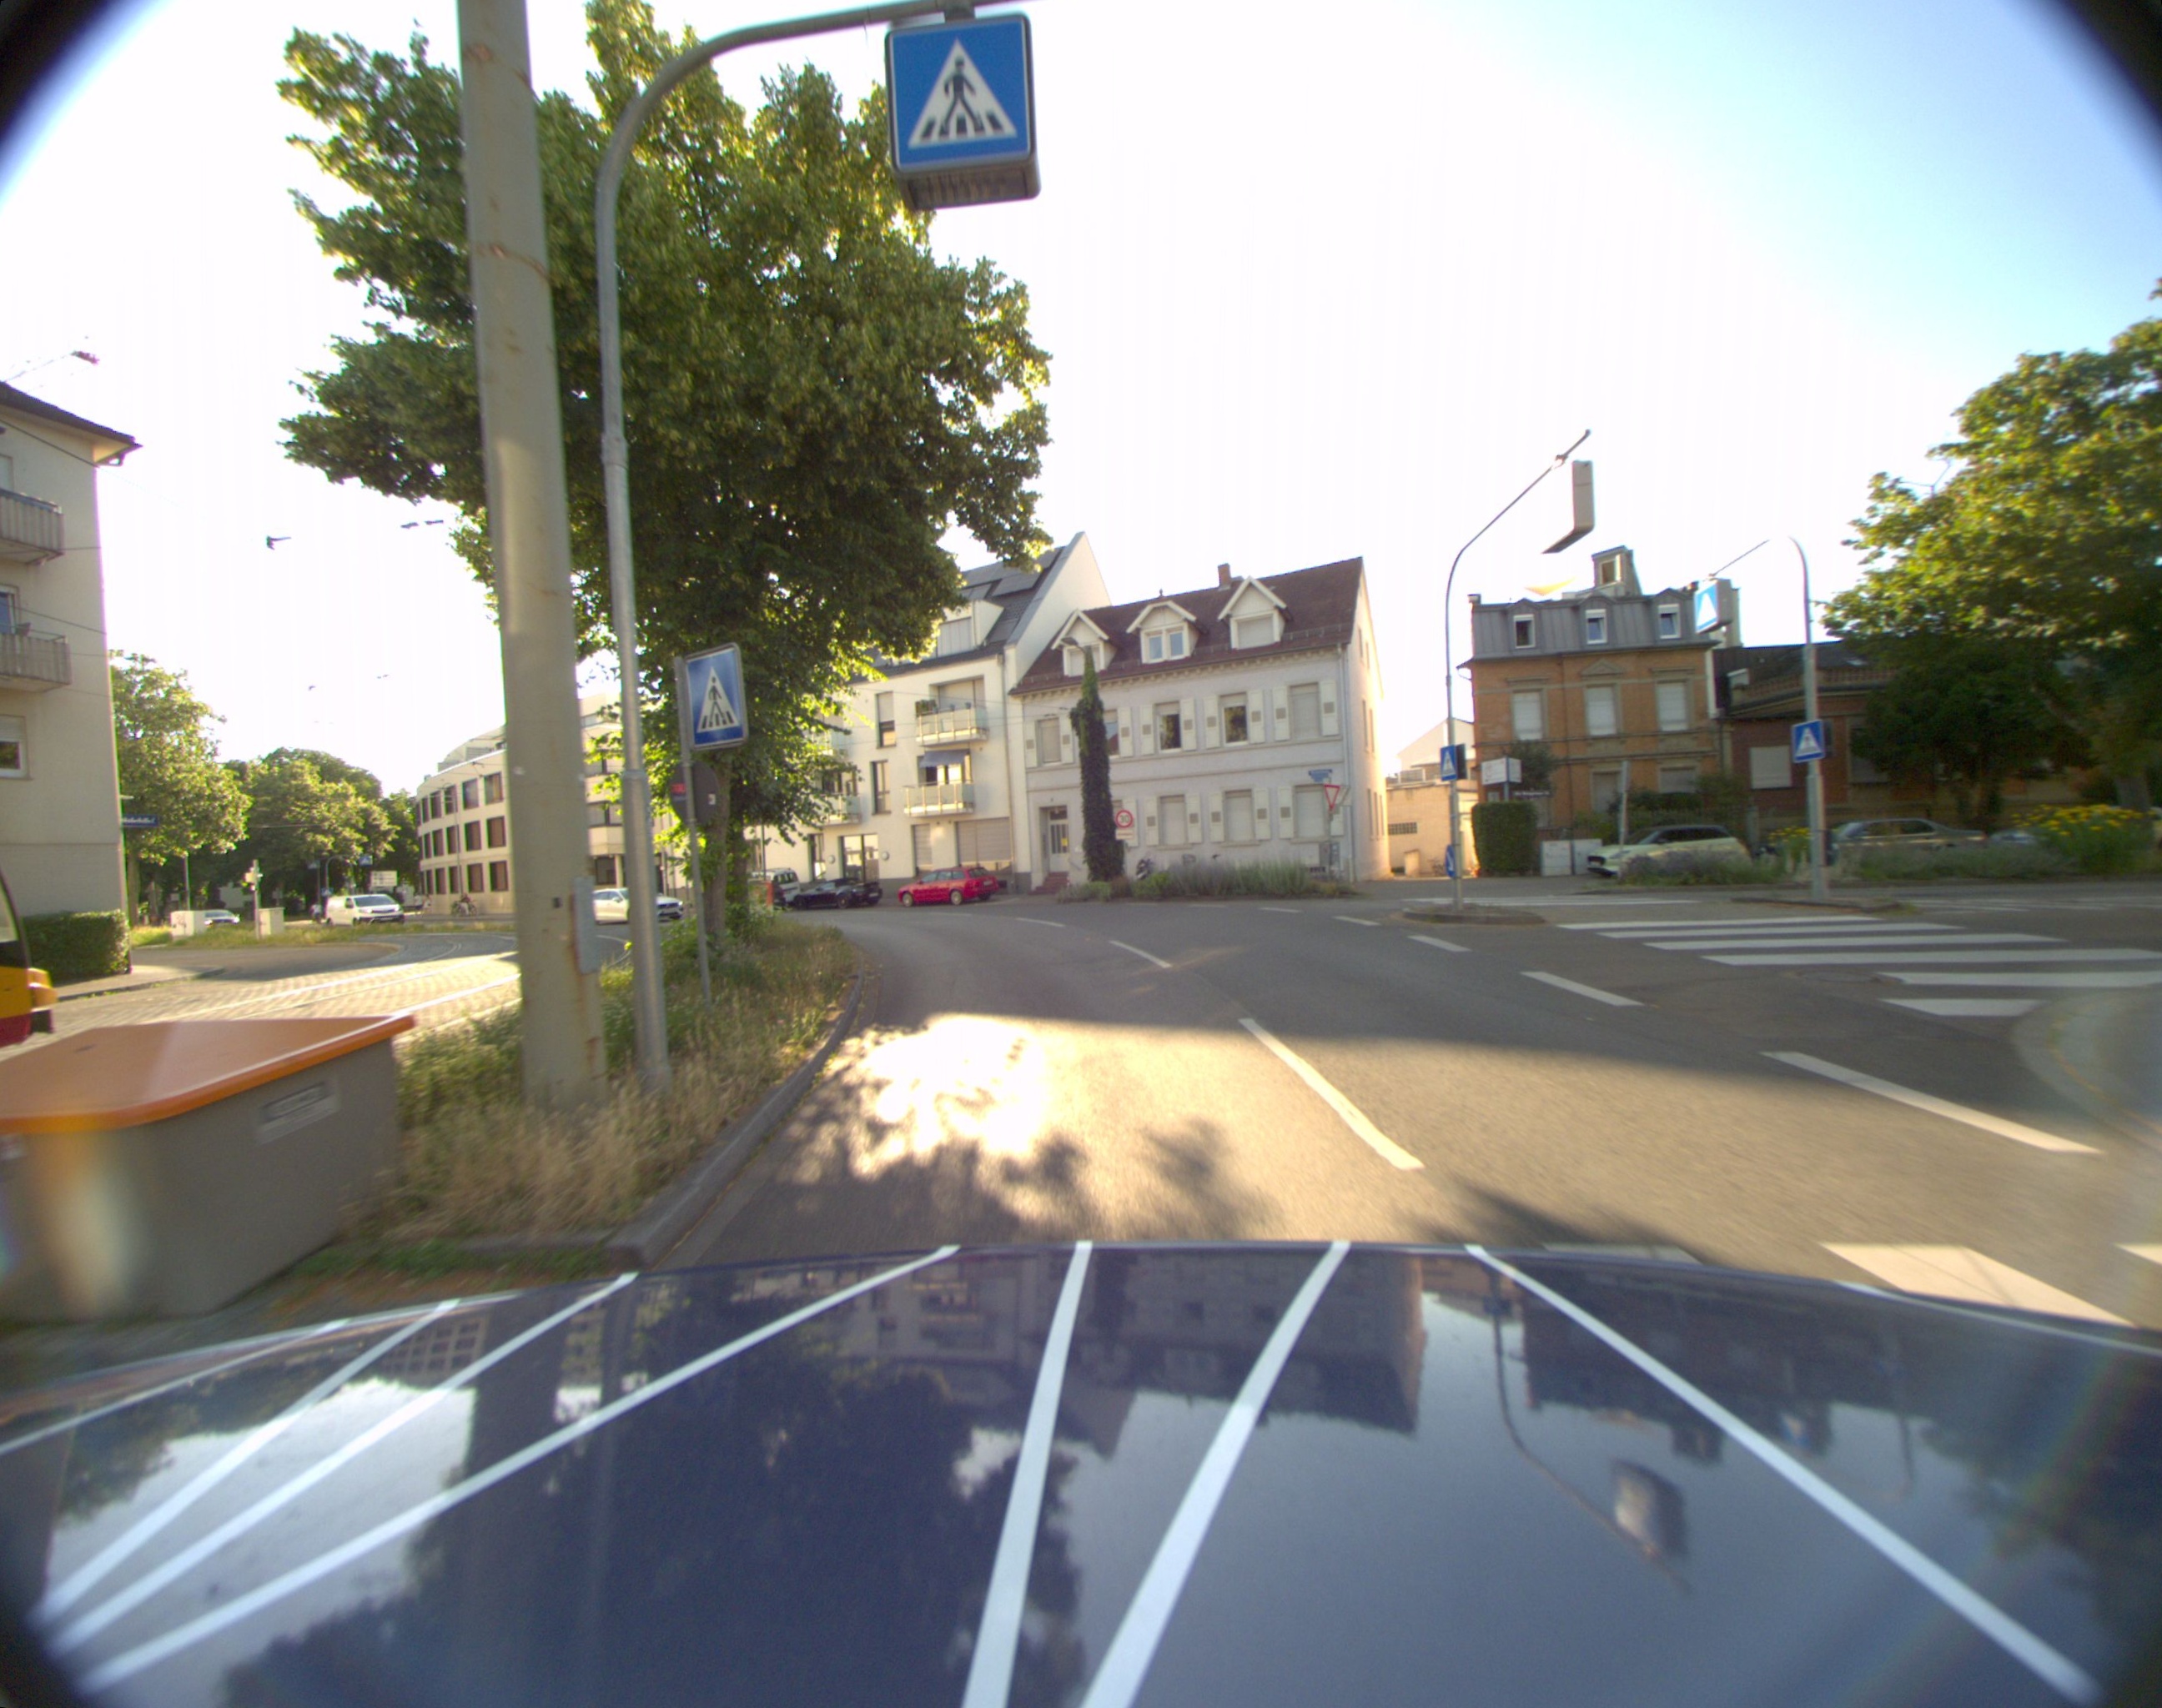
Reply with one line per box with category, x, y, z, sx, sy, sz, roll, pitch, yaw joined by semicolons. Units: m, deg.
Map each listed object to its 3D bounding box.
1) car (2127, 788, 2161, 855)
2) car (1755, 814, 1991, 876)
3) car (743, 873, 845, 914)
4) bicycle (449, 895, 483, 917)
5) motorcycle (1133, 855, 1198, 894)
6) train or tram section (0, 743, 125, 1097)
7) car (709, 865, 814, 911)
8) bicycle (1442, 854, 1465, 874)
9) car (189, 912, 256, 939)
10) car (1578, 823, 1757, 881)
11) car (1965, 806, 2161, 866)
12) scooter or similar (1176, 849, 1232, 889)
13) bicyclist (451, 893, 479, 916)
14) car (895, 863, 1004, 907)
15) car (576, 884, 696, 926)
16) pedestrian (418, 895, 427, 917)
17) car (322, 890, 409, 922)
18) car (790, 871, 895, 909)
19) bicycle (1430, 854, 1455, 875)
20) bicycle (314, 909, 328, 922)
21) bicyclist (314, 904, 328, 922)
car;33.913;-1.086;21.648;5.094;1.933;1.930;-3;1;5
car;22.566;-0.239;21.809;4.690;1.445;1.726;-3;1;5
car;-11.555;1.597;30.528;3.892;1.453;1.610;-3;0;29
bicycle;-42.132;3.592;52.051;2.969;1.385;0.932;-3;1;35
motorcycle;2.905;0.702;26.208;2.104;1.220;0.625;-3;1;28
train or tram section;-11.843;0.664;1.456;2.965;3.401;13.463;-2;0;0
car;-14.898;1.593;35.459;4.263;1.945;2.003;-2;1;21
bicycle;22.370;0.598;45.638;0.703;1.076;2.344;-3;1;38
car;-59.619;4.940;52.757;4.921;1.574;2.003;-2;0;29
car;17.316;-0.057;22.578;3.878;1.445;1.702;-3;1;5
car;28.352;-0.518;21.668;4.011;1.445;1.702;-3;1;5
scooter or similar;4.521;0.567;27.951;1.882;1.358;0.625;-3;1;24
bicyclist;-42.356;3.461;52.237;0.951;1.510;1.154;-3;1;33
car;-5.262;1.241;30.280;4.196;1.453;1.610;-5;0;33
car;-17.724;2.035;30.268;4.438;1.454;2.003;-3;0;28
pedestrian;-51.148;4.044;59.000;0.401;1.715;0.399;-4;1;-39
car;-39.104;2.825;41.507;4.921;1.574;2.003;-2;0;29
car;-10.297;1.565;32.835;4.116;1.339;1.938;-4;0;29
bicycle;20.651;0.574;43.373;0.703;1.076;2.344;-3;1;38
bicycle;-53.971;4.382;53.957;1.839;0.831;0.506;-3;1;41
bicyclist;-54.002;4.195;53.970;0.661;1.205;0.580;-3;1;41
